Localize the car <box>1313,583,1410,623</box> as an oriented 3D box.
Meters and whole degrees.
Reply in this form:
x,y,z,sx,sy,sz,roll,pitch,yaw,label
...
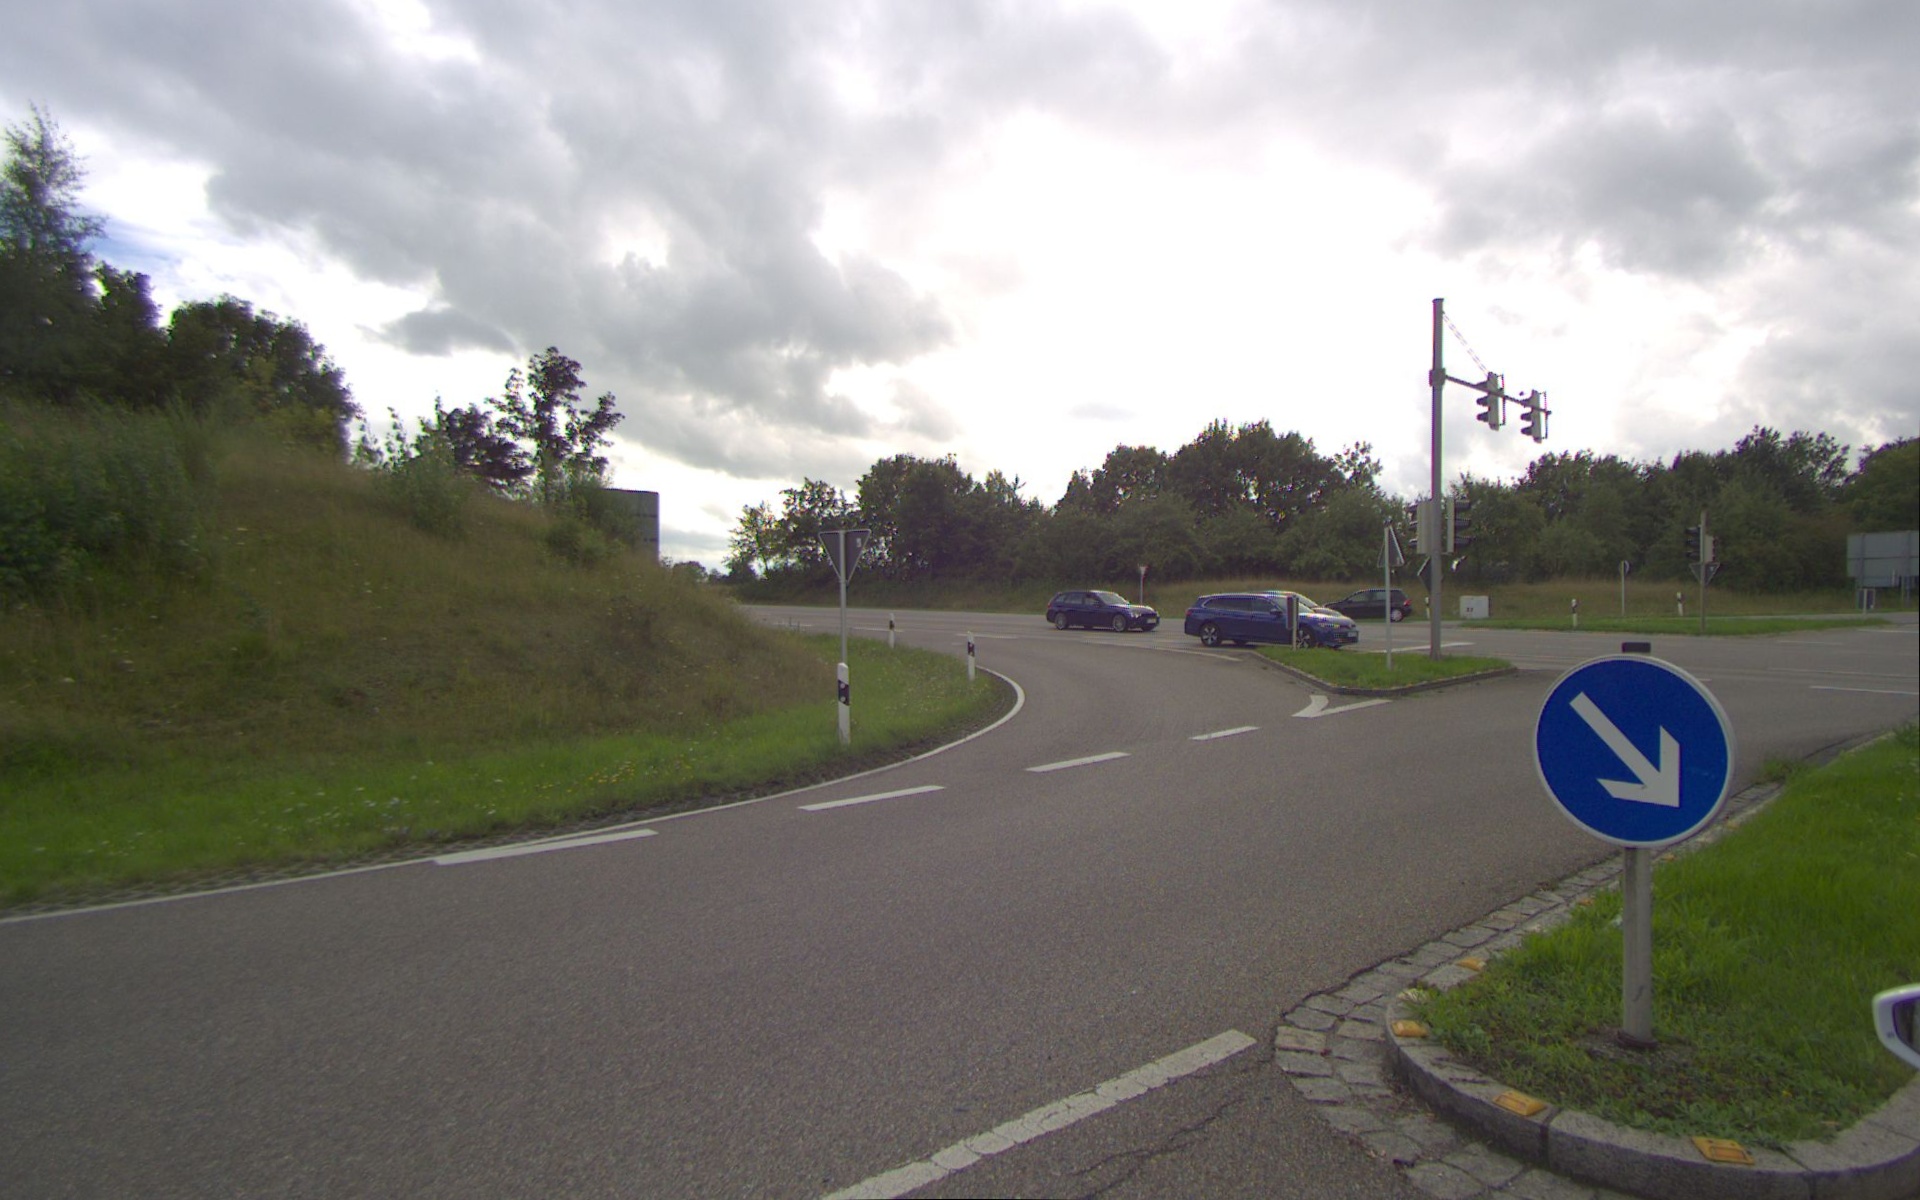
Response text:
x,y,z,sx,sy,sz,roll,pitch,yaw,label
18.019,0.129,45.235,3.920,1.712,1.849,1,0,18,car

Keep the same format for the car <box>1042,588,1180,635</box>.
x,y,z,sx,sy,sz,roll,pitch,yaw,label
5.455,0.369,36.752,2.040,1.504,4.820,-2,2,-43,car

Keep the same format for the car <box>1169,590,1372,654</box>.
x,y,z,sx,sy,sz,roll,pitch,yaw,label
8.488,0.536,27.820,2.038,1.555,5.060,-1,2,-44,car
